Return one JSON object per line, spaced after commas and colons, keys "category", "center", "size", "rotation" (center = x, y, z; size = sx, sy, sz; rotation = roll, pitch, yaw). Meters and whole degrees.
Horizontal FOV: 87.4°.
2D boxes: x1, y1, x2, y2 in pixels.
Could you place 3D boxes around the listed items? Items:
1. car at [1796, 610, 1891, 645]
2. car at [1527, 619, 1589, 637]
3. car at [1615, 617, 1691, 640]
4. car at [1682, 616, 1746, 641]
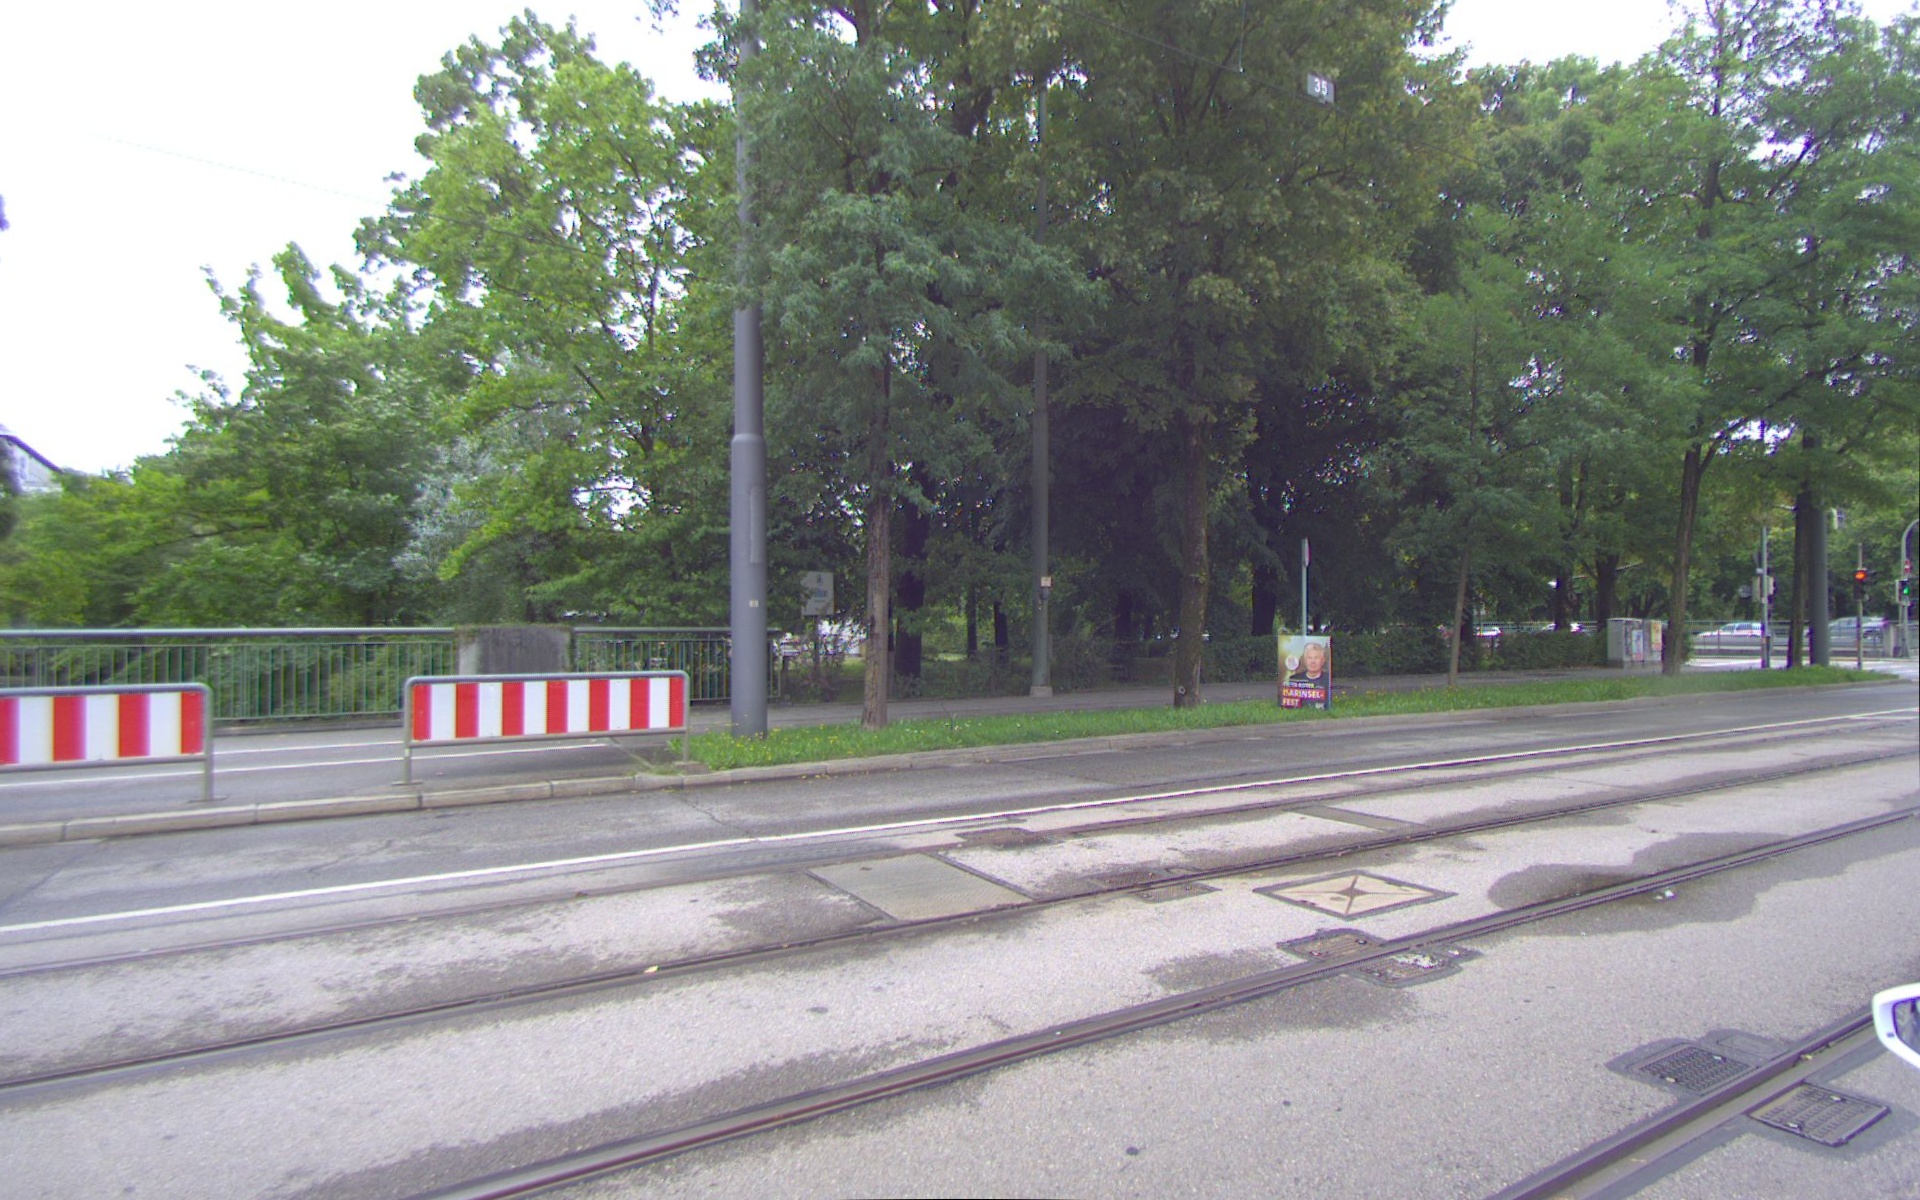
{"category": "car", "center": [52.332, 1.604, 59.539], "size": [1.476, 1.912, 3.994], "rotation": [1, 0, -36]}
{"category": "car", "center": [43.725, 2.018, 73.477], "size": [1.238, 1.201, 3.704], "rotation": [1, 0, -34]}
{"category": "car", "center": [47.048, 1.925, 68.261], "size": [1.703, 1.423, 3.900], "rotation": [1, 0, -34]}
{"category": "car", "center": [48.939, 1.827, 65.263], "size": [1.238, 1.471, 3.090], "rotation": [1, 0, -34]}
